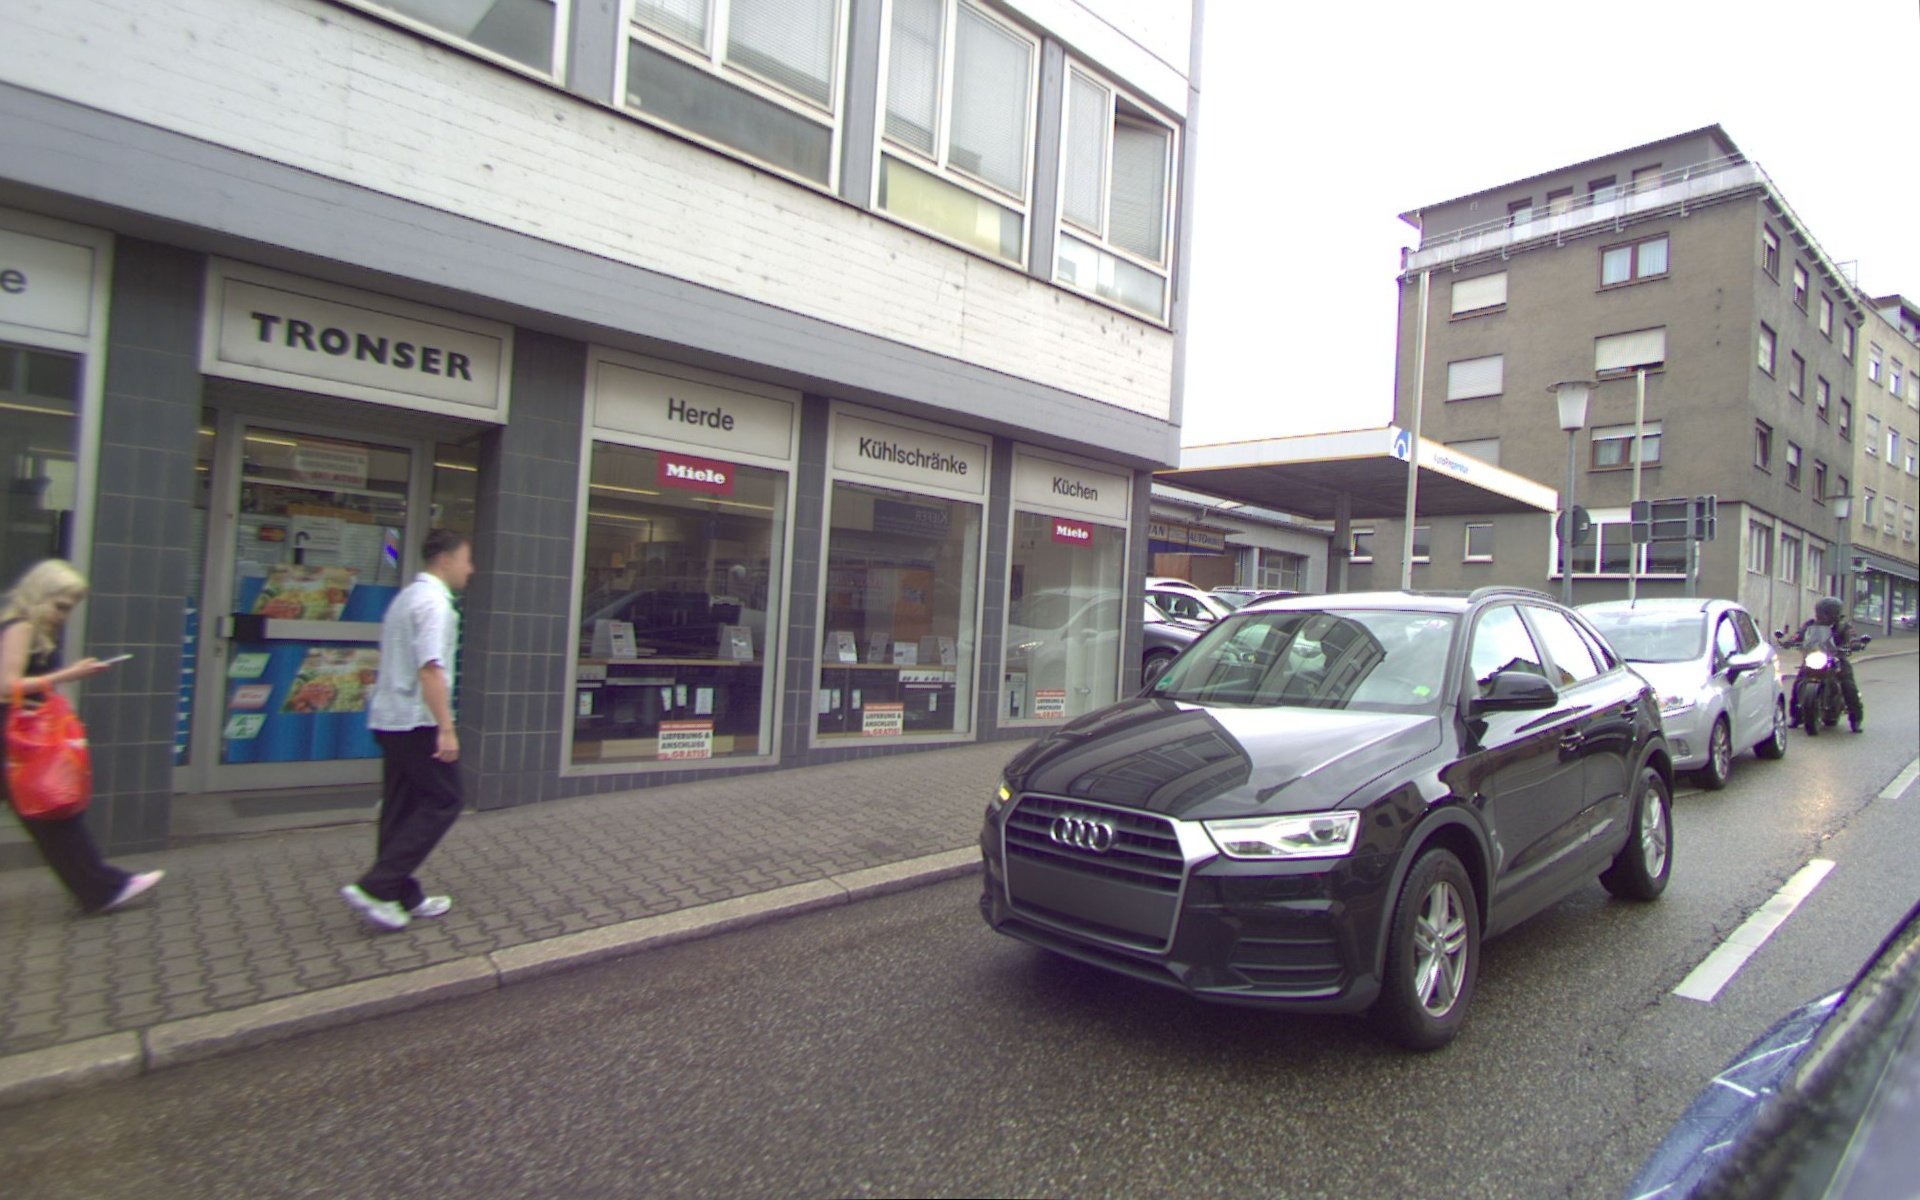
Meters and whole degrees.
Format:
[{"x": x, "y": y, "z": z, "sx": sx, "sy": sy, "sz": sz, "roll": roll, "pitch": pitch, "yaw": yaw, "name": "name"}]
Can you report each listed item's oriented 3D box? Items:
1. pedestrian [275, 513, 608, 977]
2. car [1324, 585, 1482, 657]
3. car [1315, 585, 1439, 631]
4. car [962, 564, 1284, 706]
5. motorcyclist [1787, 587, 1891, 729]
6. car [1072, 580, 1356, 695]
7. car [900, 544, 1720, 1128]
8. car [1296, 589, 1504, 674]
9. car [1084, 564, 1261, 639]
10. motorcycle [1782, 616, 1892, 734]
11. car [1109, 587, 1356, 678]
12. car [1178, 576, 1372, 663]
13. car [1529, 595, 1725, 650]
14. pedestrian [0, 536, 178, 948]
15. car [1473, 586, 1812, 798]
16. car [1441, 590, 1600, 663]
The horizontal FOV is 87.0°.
[{"x": -2.253, "y": 0.515, "z": 4.419, "sx": 1.102, "sy": 1.726, "sz": 0.785, "roll": 0, "pitch": 4, "yaw": -44, "name": "pedestrian"}, {"x": 11.096, "y": 0.530, "z": 25.250, "sx": 4.340, "sy": 1.530, "sz": 1.793, "roll": 2, "pitch": 3, "yaw": -40, "name": "car"}, {"x": 15.192, "y": 0.275, "z": 37.005, "sx": 1.761, "sy": 1.472, "sz": 3.753, "roll": 3, "pitch": 0, "yaw": -38, "name": "car"}, {"x": 2.193, "y": 0.376, "z": 14.007, "sx": 3.973, "sy": 1.468, "sz": 1.778, "roll": 5, "pitch": 3, "yaw": 33, "name": "car"}, {"x": 10.507, "y": 0.665, "z": 12.093, "sx": 0.844, "sy": 1.610, "sz": 0.947, "roll": -3, "pitch": -2, "yaw": 44, "name": "motorcyclist"}, {"x": 3.922, "y": 0.496, "z": 15.830, "sx": 3.972, "sy": 1.549, "sz": 1.742, "roll": 1, "pitch": 1, "yaw": 34, "name": "car"}, {"x": 1.911, "y": 0.665, "z": 4.803, "sx": 4.127, "sy": 1.580, "sz": 1.826, "roll": 0, "pitch": -2, "yaw": -41, "name": "car"}, {"x": 8.686, "y": 0.553, "z": 19.830, "sx": 4.531, "sy": 1.433, "sz": 1.793, "roll": 0, "pitch": 2, "yaw": -38, "name": "car"}, {"x": 5.075, "y": 0.019, "z": 23.869, "sx": 4.340, "sy": 1.620, "sz": 1.792, "roll": 0, "pitch": 1, "yaw": -40, "name": "car"}, {"x": 10.528, "y": 0.839, "z": 12.121, "sx": 0.844, "sy": 1.241, "sz": 2.335, "roll": -3, "pitch": -2, "yaw": 44, "name": "motorcycle"}, {"x": 4.836, "y": 0.503, "z": 18.202, "sx": 3.975, "sy": 1.418, "sz": 1.650, "roll": 1, "pitch": 1, "yaw": 36, "name": "car"}, {"x": 6.808, "y": 0.425, "z": 21.656, "sx": 4.411, "sy": 1.563, "sz": 1.793, "roll": 2, "pitch": 3, "yaw": -40, "name": "car"}, {"x": 19.982, "y": 0.659, "z": 30.504, "sx": 1.963, "sy": 1.523, "sz": 4.534, "roll": 0, "pitch": -1, "yaw": -36, "name": "car"}, {"x": -3.863, "y": 0.531, "z": 4.220, "sx": 0.876, "sy": 1.569, "sz": 0.766, "roll": 0, "pitch": 4, "yaw": -44, "name": "pedestrian"}, {"x": 6.616, "y": 0.714, "z": 9.615, "sx": 4.182, "sy": 1.561, "sz": 1.827, "roll": 0, "pitch": -2, "yaw": -45, "name": "car"}, {"x": 13.088, "y": 0.553, "z": 23.530, "sx": 4.358, "sy": 1.531, "sz": 1.792, "roll": 0, "pitch": 1, "yaw": -40, "name": "car"}]
